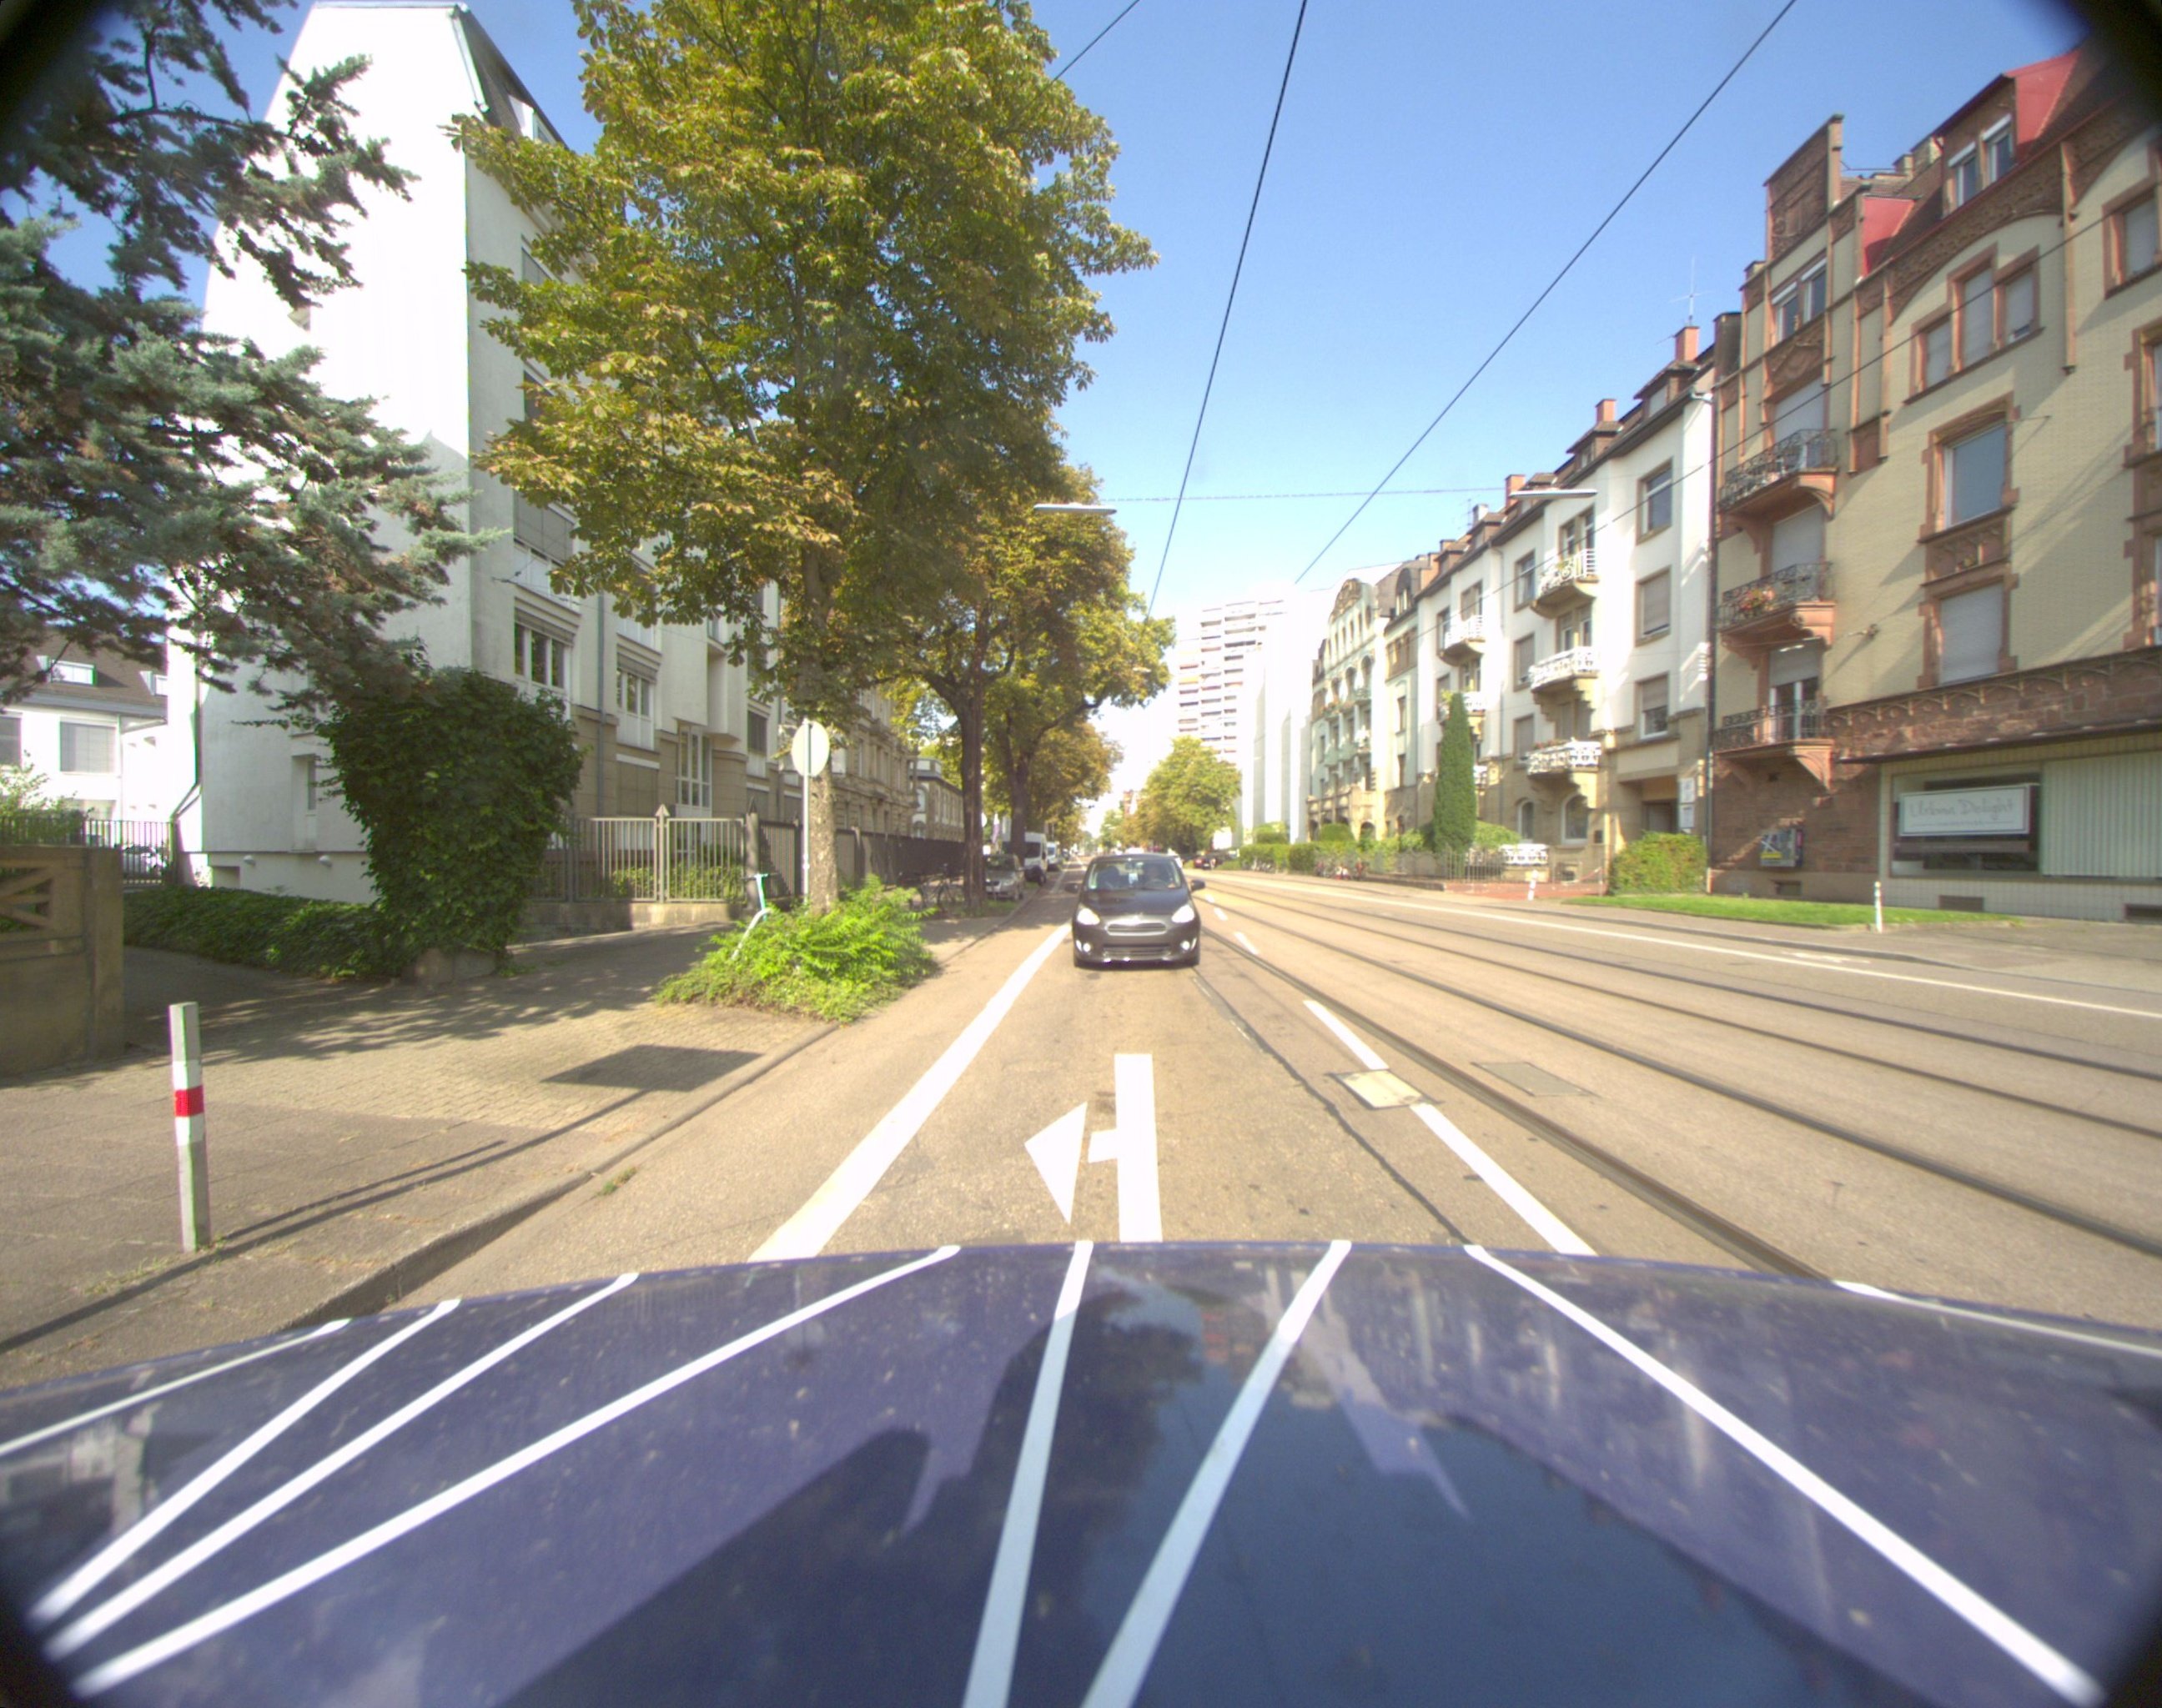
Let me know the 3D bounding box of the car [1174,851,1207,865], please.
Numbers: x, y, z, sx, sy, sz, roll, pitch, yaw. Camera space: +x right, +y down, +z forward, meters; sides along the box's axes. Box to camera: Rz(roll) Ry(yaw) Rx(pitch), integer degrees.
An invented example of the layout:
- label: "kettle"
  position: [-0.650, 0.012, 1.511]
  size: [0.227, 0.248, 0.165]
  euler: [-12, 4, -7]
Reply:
- label: "car"
  position: [12.435, 0.421, 86.073]
  size: [1.767, 1.518, 4.009]
  euler: [1, 1, 41]

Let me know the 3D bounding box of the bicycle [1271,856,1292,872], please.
- label: "bicycle"
  position: [13.487, 0.669, 51.098]
  size: [1.397, 1.081, 0.425]
  euler: [0, 1, -18]

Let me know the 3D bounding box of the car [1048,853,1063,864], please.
- label: "car"
  position: [-2.994, 0.524, 91.441]
  size: [1.757, 1.349, 3.787]
  euler: [0, 0, -1]

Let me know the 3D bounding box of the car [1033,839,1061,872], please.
- label: "car"
  position: [-2.775, 0.077, 63.086]
  size: [1.998, 2.526, 5.867]
  euler: [2, 0, 0]

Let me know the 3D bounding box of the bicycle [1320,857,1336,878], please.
- label: "bicycle"
  position: [13.090, 0.714, 40.318]
  size: [0.371, 1.081, 1.355]
  euler: [0, 1, -1]

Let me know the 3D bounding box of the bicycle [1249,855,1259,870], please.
- label: "bicycle"
  position: [12.969, 0.637, 57.019]
  size: [0.425, 1.081, 1.676]
  euler: [0, 0, 2]

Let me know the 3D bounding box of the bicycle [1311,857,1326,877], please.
- label: "bicycle"
  position: [13.135, 0.714, 42.089]
  size: [0.371, 1.081, 1.355]
  euler: [0, 1, -1]

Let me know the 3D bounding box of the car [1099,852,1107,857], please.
- label: "car"
  position: [5.674, 0.102, 193.842]
  size: [1.757, 1.349, 3.787]
  euler: [0, 0, -1]

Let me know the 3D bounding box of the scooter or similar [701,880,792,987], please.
- label: "scooter or similar"
  position: [-4.152, 0.958, 9.494]
  size: [0.559, 1.190, 1.034]
  euler: [3, 1, 5]

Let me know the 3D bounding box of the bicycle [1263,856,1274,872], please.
- label: "bicycle"
  position: [12.864, 0.693, 52.102]
  size: [0.425, 1.081, 1.677]
  euler: [0, 0, 4]

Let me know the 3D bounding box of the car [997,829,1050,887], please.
- label: "car"
  position: [-2.625, 0.157, 36.109]
  size: [2.051, 2.484, 6.228]
  euler: [1, 0, 0]

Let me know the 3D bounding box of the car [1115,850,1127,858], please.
- label: "car"
  position: [7.057, 0.006, 135.213]
  size: [1.701, 1.395, 4.645]
  euler: [-1, 1, -1]

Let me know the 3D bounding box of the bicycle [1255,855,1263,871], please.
- label: "bicycle"
  position: [12.853, 0.651, 55.008]
  size: [0.425, 1.081, 1.677]
  euler: [0, 0, 9]

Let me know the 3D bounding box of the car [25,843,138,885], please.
- label: "car"
  position: [-39.650, 0.346, 30.138]
  size: [3.990, 1.557, 1.839]
  euler: [0, 1, 25]

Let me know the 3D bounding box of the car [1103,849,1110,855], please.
- label: "car"
  position: [6.030, -0.446, 179.432]
  size: [1.757, 1.349, 3.788]
  euler: [0, 0, 1]

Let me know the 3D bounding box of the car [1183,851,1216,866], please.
- label: "car"
  position: [13.014, 0.464, 83.222]
  size: [1.767, 1.518, 4.009]
  euler: [1, 1, 41]

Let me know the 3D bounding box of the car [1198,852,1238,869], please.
- label: "car"
  position: [12.520, 0.569, 69.125]
  size: [1.767, 1.518, 4.009]
  euler: [1, 1, 41]

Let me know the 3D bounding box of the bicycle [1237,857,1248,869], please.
- label: "bicycle"
  position: [12.838, 0.712, 60.352]
  size: [0.425, 0.972, 1.770]
  euler: [0, 0, -1]

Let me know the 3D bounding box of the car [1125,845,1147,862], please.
- label: "car"
  position: [6.463, -0.086, 89.642]
  size: [1.999, 2.002, 4.857]
  euler: [0, 0, -3]

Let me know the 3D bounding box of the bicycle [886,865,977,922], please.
- label: "bicycle"
  position: [-3.263, 0.861, 16.688]
  size: [1.846, 1.160, 0.503]
  euler: [2, 5, -40]

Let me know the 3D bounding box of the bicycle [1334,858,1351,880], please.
- label: "bicycle"
  position: [12.930, 0.734, 37.559]
  size: [0.371, 1.081, 1.355]
  euler: [0, 1, -1]

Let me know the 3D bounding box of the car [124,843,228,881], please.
- label: "car"
  position: [-38.614, 0.306, 32.428]
  size: [3.990, 1.557, 1.839]
  euler: [0, 1, 25]

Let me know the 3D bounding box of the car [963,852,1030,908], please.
- label: "car"
  position: [-2.620, 0.749, 24.378]
  size: [1.611, 1.515, 4.357]
  euler: [3, 1, 0]

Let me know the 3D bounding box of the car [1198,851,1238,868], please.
- label: "car"
  position: [13.204, 0.512, 72.915]
  size: [4.009, 1.518, 1.767]
  euler: [0, 1, -44]

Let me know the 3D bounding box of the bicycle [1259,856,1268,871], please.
- label: "bicycle"
  position: [13.007, 0.667, 54.199]
  size: [0.425, 1.081, 1.677]
  euler: [0, 0, 9]

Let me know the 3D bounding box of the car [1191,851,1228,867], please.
- label: "car"
  position: [12.847, 0.498, 75.756]
  size: [1.767, 1.518, 4.009]
  euler: [1, 1, 41]

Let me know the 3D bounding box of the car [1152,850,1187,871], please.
- label: "car"
  position: [6.657, 0.448, 57.679]
  size: [1.877, 1.446, 4.543]
  euler: [3, 0, -3]

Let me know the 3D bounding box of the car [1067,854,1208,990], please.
- label: "car"
  position: [0.652, 0.787, 11.009]
  size: [1.611, 1.515, 4.357]
  euler: [-1, 1, 0]

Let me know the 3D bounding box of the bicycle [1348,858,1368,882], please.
- label: "bicycle"
  position: [13.024, 0.751, 35.785]
  size: [0.371, 1.081, 1.487]
  euler: [0, 0, -1]
